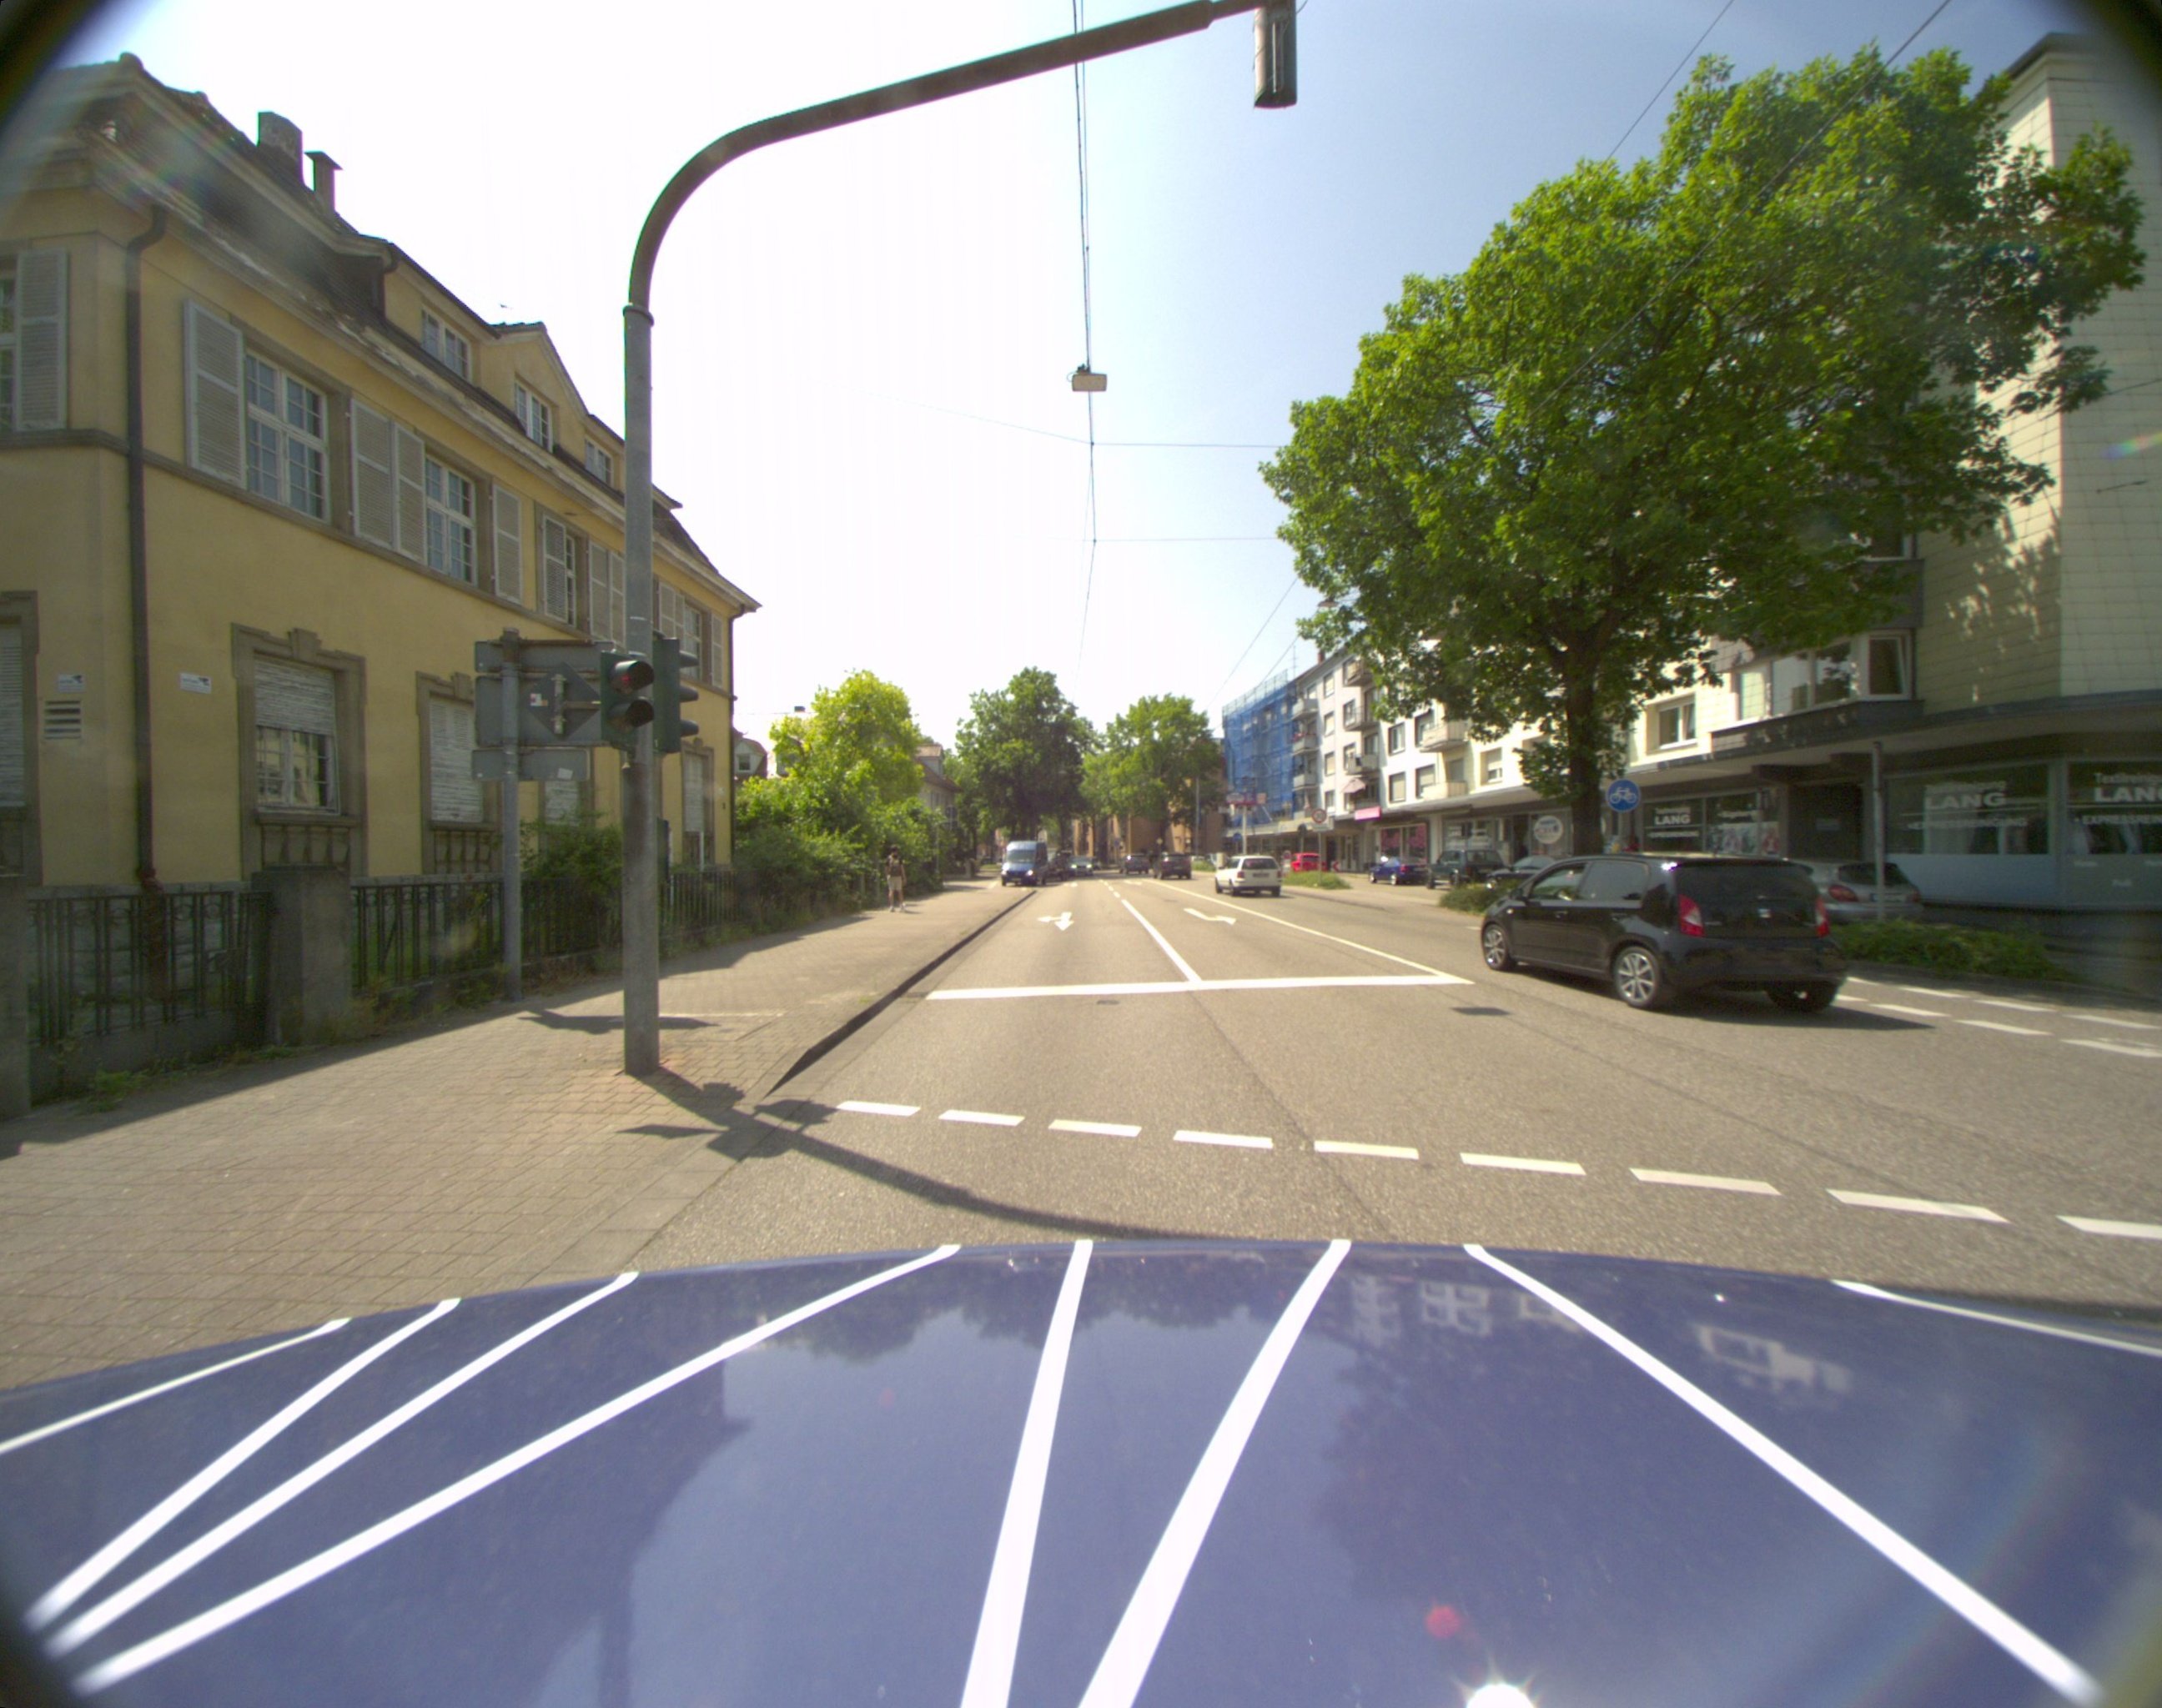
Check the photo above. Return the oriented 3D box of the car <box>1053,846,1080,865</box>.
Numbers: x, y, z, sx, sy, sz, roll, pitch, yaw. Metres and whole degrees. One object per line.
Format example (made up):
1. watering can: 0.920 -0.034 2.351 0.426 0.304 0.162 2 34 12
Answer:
1. car: -1.828 0.243 95.159 2.323 2.229 4.756 -3 0 -14

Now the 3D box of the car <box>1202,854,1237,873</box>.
1. car: 11.349 0.776 62.445 1.913 1.511 4.333 0 0 -2

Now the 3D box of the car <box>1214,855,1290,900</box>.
1. car: 6.238 0.804 28.275 1.820 1.509 4.630 0 0 0

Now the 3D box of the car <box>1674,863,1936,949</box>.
1. car: 14.385 0.946 15.453 1.586 1.450 3.939 0 0 1

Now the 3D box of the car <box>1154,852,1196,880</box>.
1. car: 5.750 0.694 46.899 1.985 1.629 4.225 0 0 -2

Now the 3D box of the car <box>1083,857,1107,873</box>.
1. car: 1.485 1.149 80.275 1.707 1.463 3.552 -3 3 -11

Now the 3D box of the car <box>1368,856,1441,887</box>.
1. car: 14.738 0.773 34.799 1.704 1.279 3.861 -1 1 0

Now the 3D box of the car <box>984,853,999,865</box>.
1. car: -12.992 0.755 110.136 1.828 1.674 3.995 -2 1 -13

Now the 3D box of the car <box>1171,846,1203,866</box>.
1. car: 9.916 0.183 71.700 1.914 1.795 4.331 0 0 -7

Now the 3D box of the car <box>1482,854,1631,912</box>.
1. car: 14.409 0.809 23.407 1.626 1.560 4.839 0 0 1

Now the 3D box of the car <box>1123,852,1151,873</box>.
1. car: 4.482 0.687 61.596 1.928 1.598 3.999 -1 1 -1

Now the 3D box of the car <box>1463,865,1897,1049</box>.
1. car: 5.858 0.878 8.095 1.620 1.447 3.710 2 -1 -1

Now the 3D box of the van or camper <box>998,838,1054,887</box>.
1. van or camper: -3.005 0.399 43.271 2.163 2.567 5.848 0 1 6

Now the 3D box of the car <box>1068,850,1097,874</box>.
1. car: 0.076 0.610 60.411 1.999 1.740 4.444 -2 0 -3

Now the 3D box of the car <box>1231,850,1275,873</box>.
1. car: 11.742 0.487 52.114 1.913 1.511 4.333 0 0 -2

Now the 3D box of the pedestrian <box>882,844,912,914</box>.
1. pedestrian: -5.071 0.673 20.957 0.621 1.907 0.744 0 1 0

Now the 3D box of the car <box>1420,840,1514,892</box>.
1. car: 14.767 0.439 29.284 1.643 1.828 3.860 -1 0 0

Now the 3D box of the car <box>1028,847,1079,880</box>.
1. car: -1.730 0.589 49.633 1.996 2.002 4.600 -2 1 16

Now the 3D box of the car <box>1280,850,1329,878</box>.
1. car: 12.154 0.529 41.516 1.639 1.459 3.634 0 1 1
